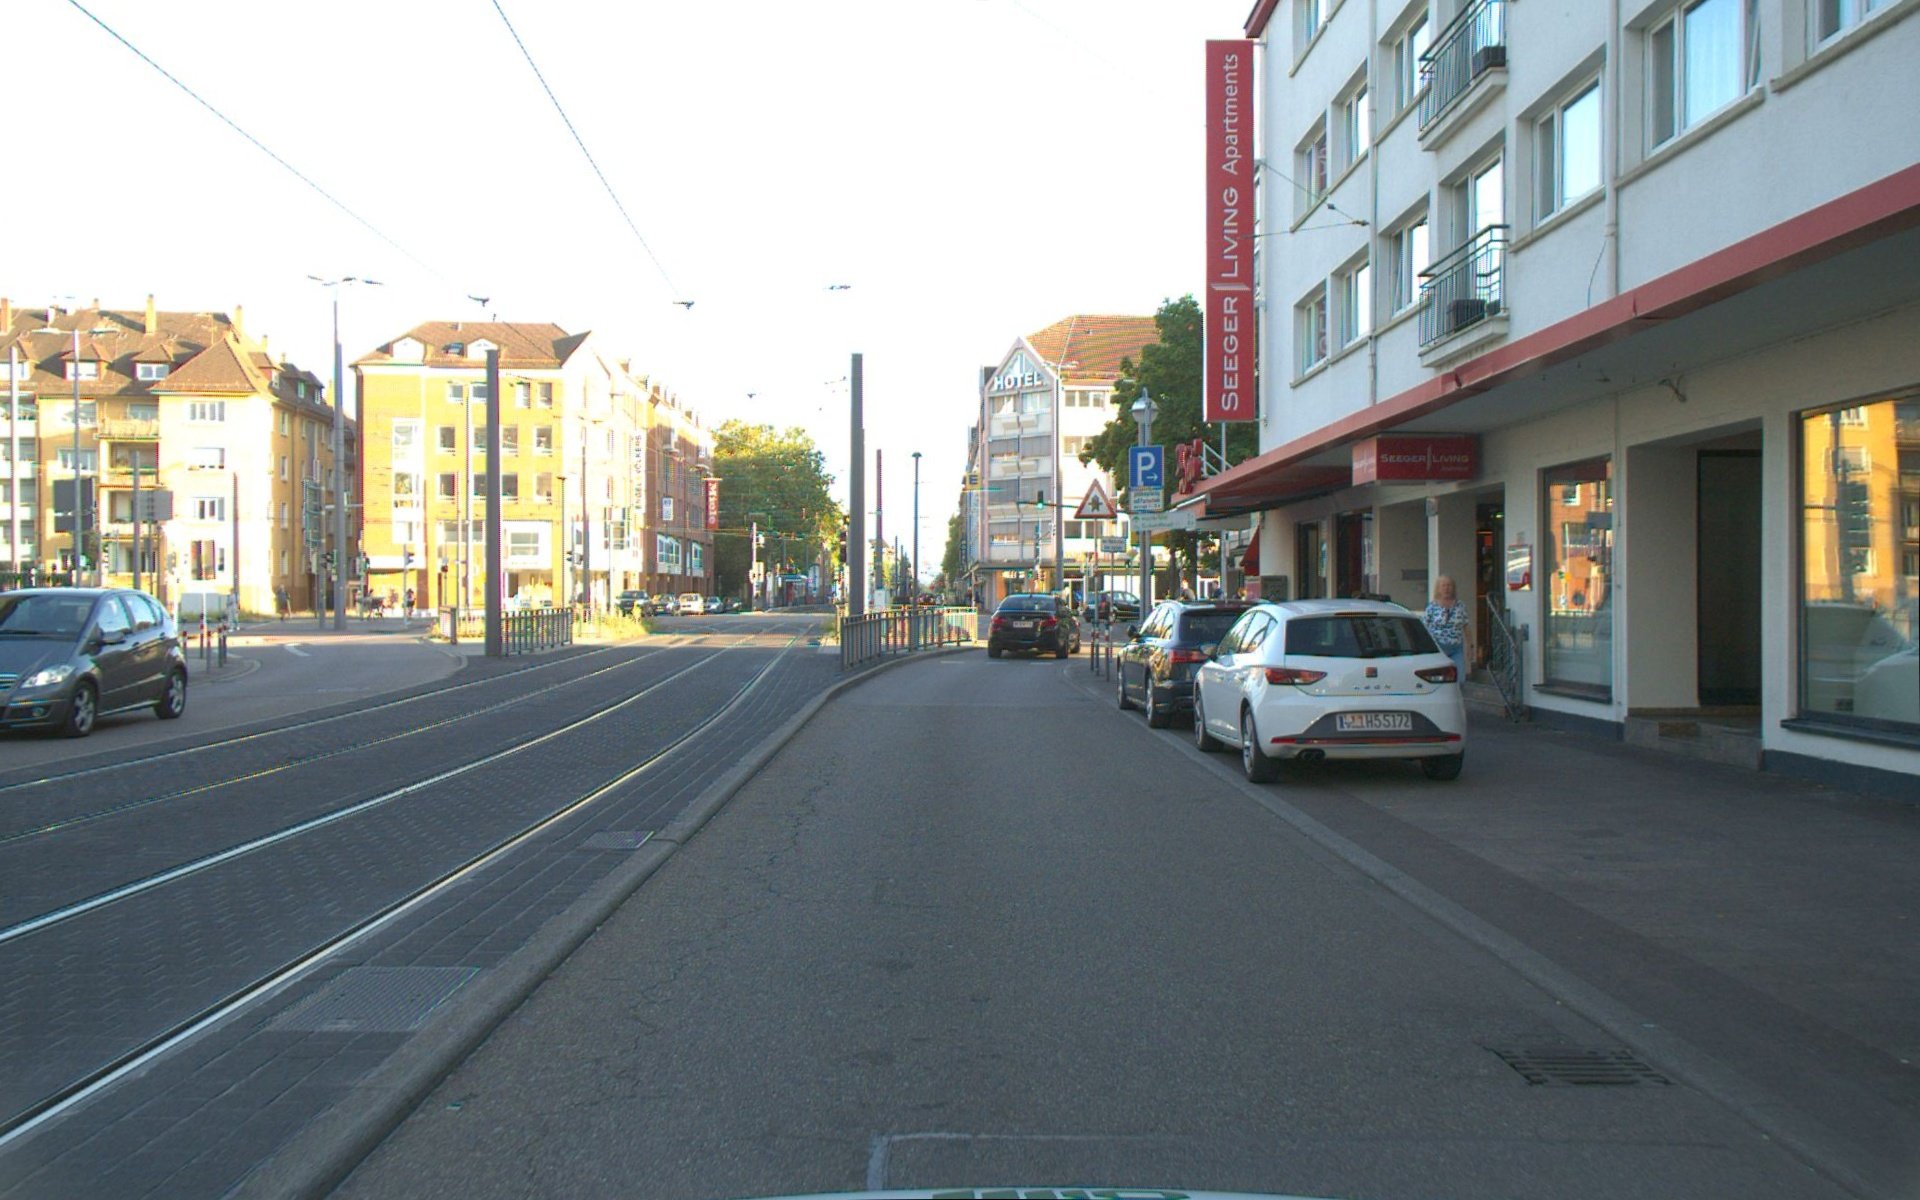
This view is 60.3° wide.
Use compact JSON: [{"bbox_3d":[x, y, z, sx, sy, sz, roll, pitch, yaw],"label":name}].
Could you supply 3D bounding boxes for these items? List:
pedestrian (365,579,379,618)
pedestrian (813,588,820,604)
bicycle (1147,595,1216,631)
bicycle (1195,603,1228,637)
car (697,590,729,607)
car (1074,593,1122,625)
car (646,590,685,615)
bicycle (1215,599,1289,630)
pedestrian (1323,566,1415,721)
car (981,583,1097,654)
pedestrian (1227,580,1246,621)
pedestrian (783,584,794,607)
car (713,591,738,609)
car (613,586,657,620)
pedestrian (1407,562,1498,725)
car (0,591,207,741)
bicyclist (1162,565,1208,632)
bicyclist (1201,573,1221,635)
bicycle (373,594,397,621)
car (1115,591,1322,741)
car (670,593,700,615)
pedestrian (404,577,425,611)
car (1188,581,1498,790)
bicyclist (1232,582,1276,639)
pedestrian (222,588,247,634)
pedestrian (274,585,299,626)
[{"bbox_3d":[-29.494,-0.077,83.006,0.492,1.900,0.562,2,0,-6],"label":"pedestrian"},{"bbox_3d":[-15.513,-0.397,178.673,0.708,1.710,0.991,0,0,1],"label":"pedestrian"},{"bbox_3d":[6.535,0.372,48.893,0.832,1.038,2.049,0,0,-38],"label":"bicycle"},{"bbox_3d":[7.583,0.584,49.963,0.456,0.987,1.797,0,0,-9],"label":"bicycle"},{"bbox_3d":[-20.772,-0.139,138.973,1.634,1.473,4.205,0,0,6],"label":"car"},{"bbox_3d":[7.129,0.431,85.138,1.951,1.579,4.004,0,0,13],"label":"car"},{"bbox_3d":[-19.330,0.147,108.682,1.954,1.612,4.584,0,0,-3],"label":"car"},{"bbox_3d":[8.448,0.411,47.860,1.965,0.896,0.840,0,0,23],"label":"bicycle"},{"bbox_3d":[4.742,0.496,19.230,0.810,1.748,0.843,-2,-1,-1],"label":"pedestrian"},{"bbox_3d":[1.934,0.401,39.401,1.951,1.612,4.003,0,0,15],"label":"car"},{"bbox_3d":[11.496,0.013,68.829,0.708,1.696,0.671,0,0,2],"label":"pedestrian"},{"bbox_3d":[-15.950,-0.413,153.899,0.968,2.049,0.725,1,0,-2],"label":"pedestrian"},{"bbox_3d":[-21.491,0.004,151.721,1.954,1.612,4.476,0,0,-3],"label":"car"},{"bbox_3d":[-19.388,0.169,98.853,1.954,1.934,4.808,0,0,-3],"label":"car"},{"bbox_3d":[5.520,0.472,18.587,0.713,1.771,0.863,-2,0,-1],"label":"pedestrian"},{"bbox_3d":[-10.247,0.672,19.066,1.702,1.538,4.029,0,0,-7],"label":"car"},{"bbox_3d":[6.630,-0.059,48.765,0.832,1.951,1.100,0,0,-38],"label":"bicyclist"},{"bbox_3d":[7.584,0.131,49.939,0.456,1.862,0.558,0,0,-9],"label":"bicyclist"},{"bbox_3d":[-28.979,0.375,83.398,0.606,1.348,2.014,2,0,-5],"label":"bicycle"},{"bbox_3d":[2.966,0.688,19.940,1.700,1.538,4.685,-2,0,0],"label":"car"},{"bbox_3d":[-20.339,0.267,122.398,1.955,1.612,4.108,0,0,-6],"label":"car"},{"bbox_3d":[-30.572,-0.335,92.703,0.923,1.900,0.837,2,0,-10],"label":"pedestrian"},{"bbox_3d":[3.207,0.639,14.651,1.749,1.538,4.051,-2,0,0],"label":"car"},{"bbox_3d":[8.510,0.297,47.831,1.089,1.651,0.840,0,0,23],"label":"bicyclist"},{"bbox_3d":[-29.954,0.453,68.280,0.870,1.900,0.970,0,0,-22],"label":"pedestrian"},{"bbox_3d":[-33.167,0.269,81.489,1.080,1.978,1.019,0,0,-20],"label":"pedestrian"}]
